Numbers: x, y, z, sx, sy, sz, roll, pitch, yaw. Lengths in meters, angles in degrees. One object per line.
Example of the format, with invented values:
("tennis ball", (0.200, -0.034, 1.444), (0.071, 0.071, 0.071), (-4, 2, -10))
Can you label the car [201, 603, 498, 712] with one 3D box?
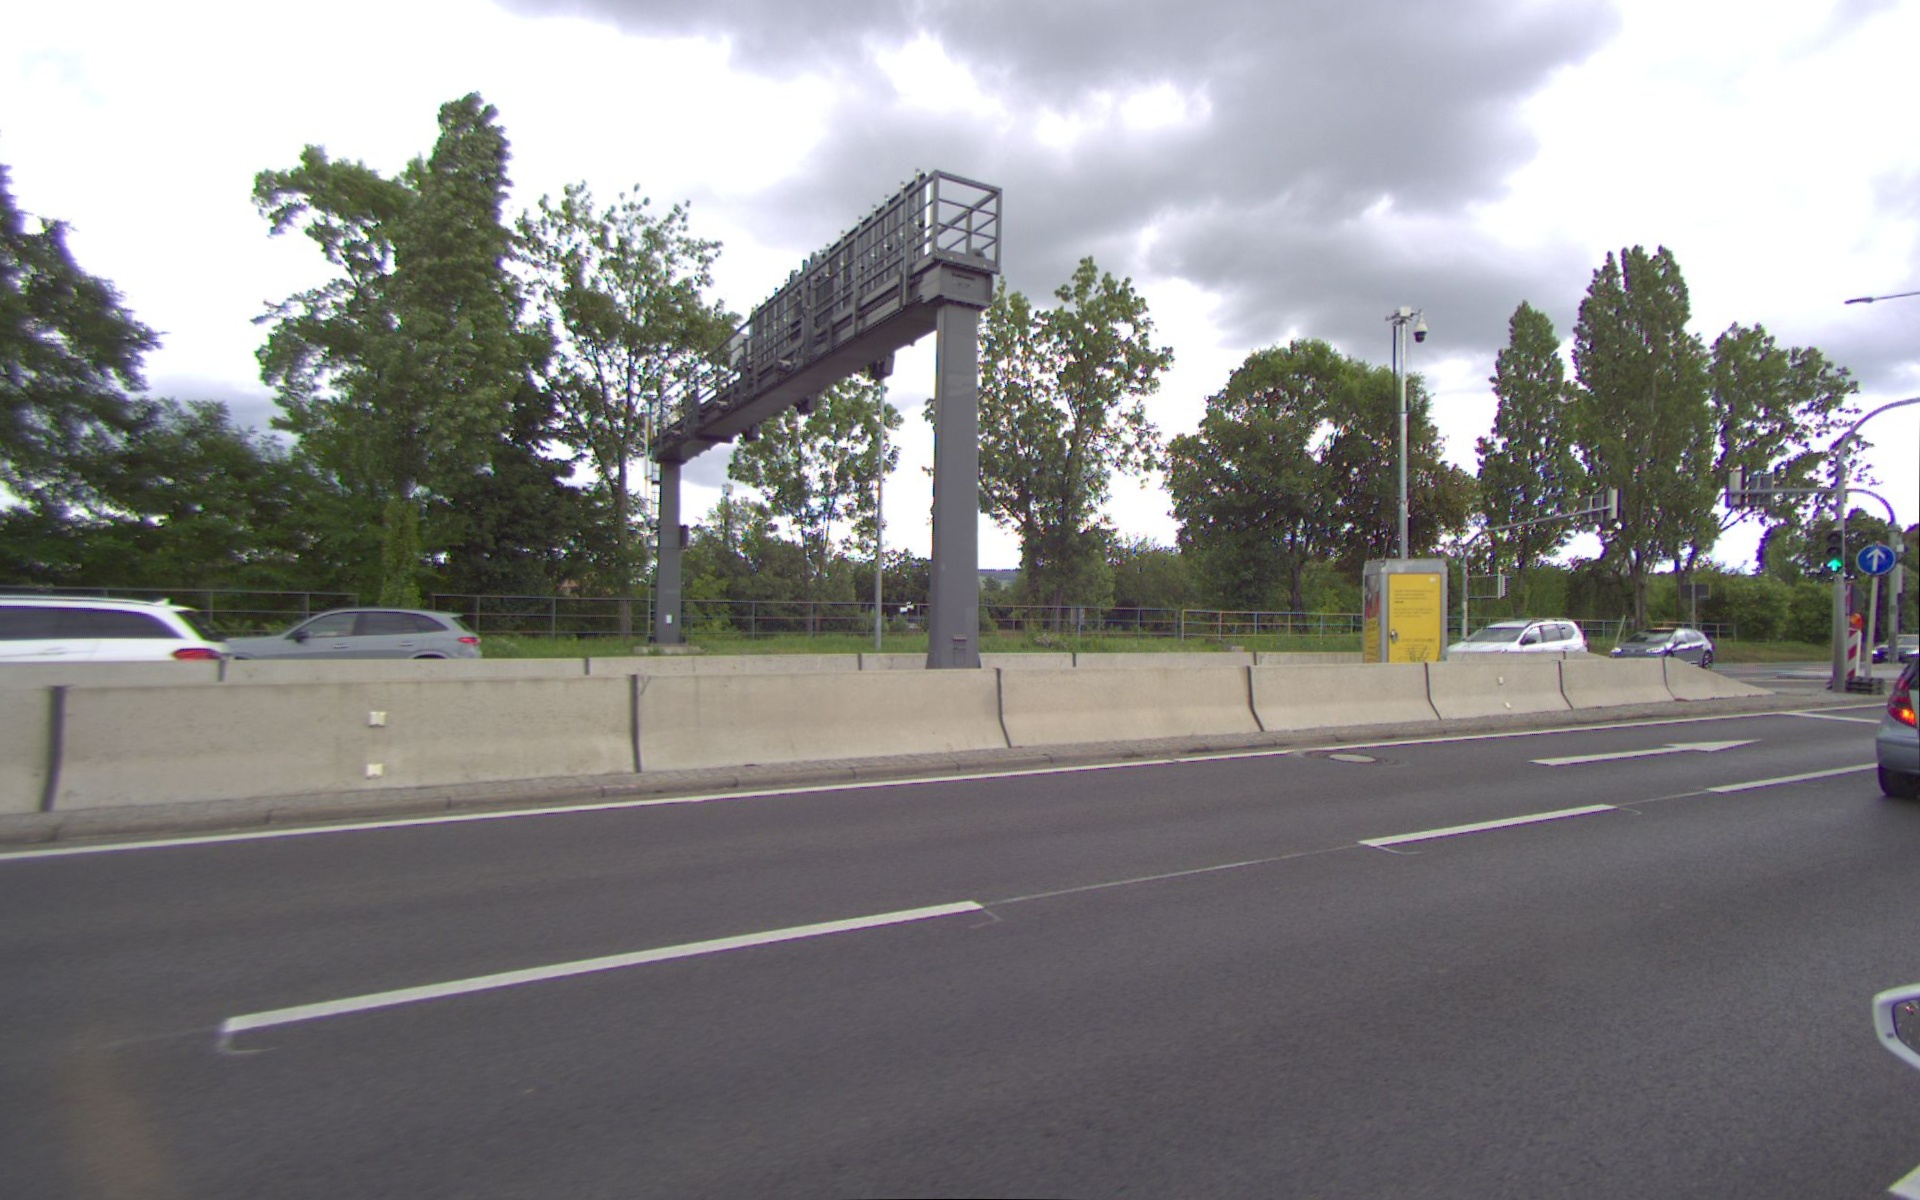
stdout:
("car", (-10.852, 0.957, 18.172), (4.360, 1.707, 1.983), (1, 1, -31))

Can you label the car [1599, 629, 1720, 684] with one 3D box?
("car", (25.249, 1.994, 36.231), (4.237, 1.679, 1.984), (-1, 2, -30))

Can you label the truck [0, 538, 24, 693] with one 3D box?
("truck", (-15.294, 0.165, 11.610), (6.236, 2.041, 2.190), (1, 1, -34))

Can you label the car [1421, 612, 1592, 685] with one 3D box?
("car", (14.390, 1.217, 26.429), (4.360, 1.707, 1.983), (1, 1, -31))

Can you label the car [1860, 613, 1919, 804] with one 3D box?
("car", (9.794, 0.933, 8.807), (3.954, 1.550, 1.702), (1, 1, -31))

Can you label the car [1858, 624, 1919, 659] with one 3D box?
("car", (44.368, 1.909, 47.216), (4.514, 1.571, 1.984), (1, -1, -31))

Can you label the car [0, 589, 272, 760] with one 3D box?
("car", (-10.417, 0.754, 10.949), (4.641, 1.691, 1.983), (1, 1, -31))
